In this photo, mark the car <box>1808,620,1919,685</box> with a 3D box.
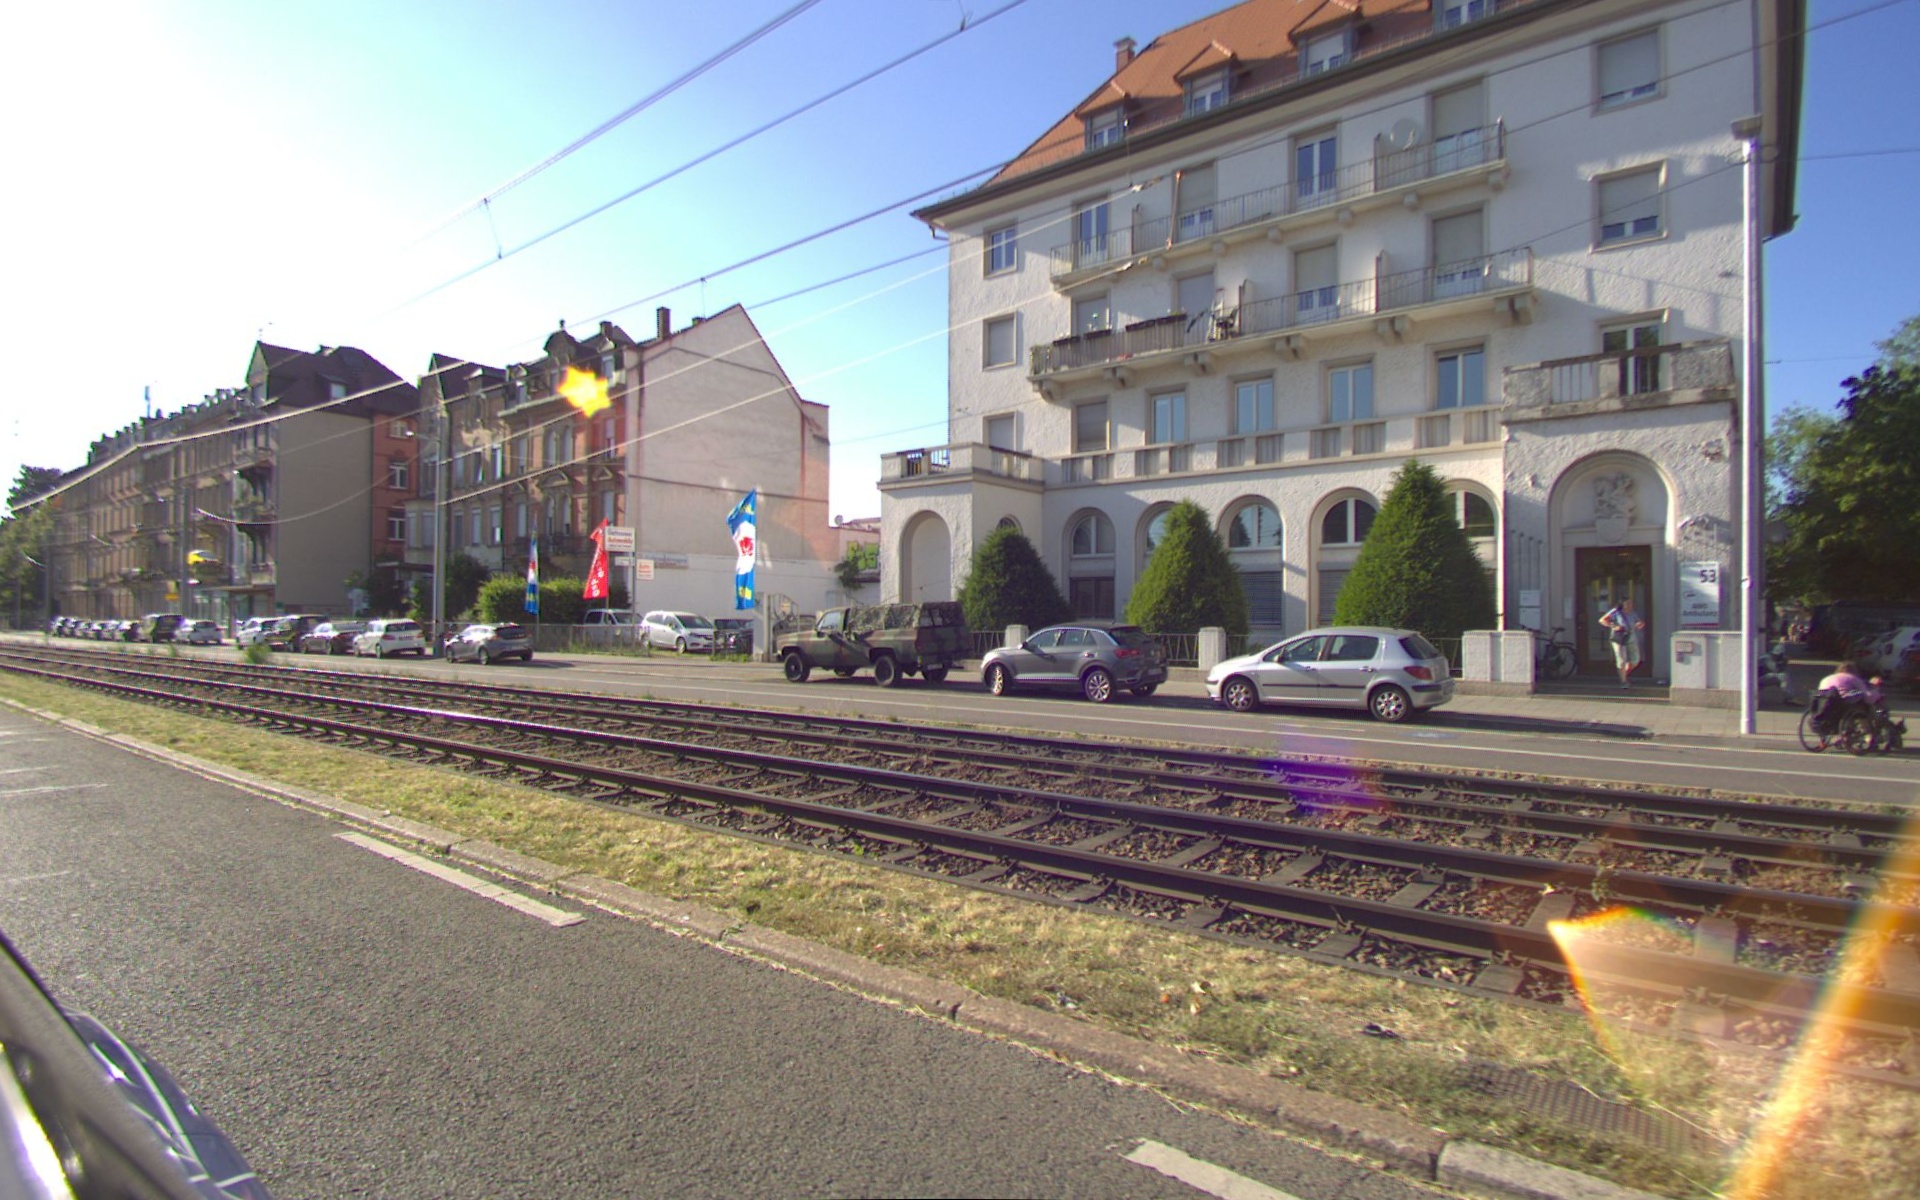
[{"bbox_3d":[25.596,1.434,27.374,3.996,1.671,1.776,1,-1,39],"label":"car"}]

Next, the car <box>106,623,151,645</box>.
[{"bbox_3d":[-57.206,2.309,69.632,3.977,1.457,1.643,-1,0,39],"label":"car"}]

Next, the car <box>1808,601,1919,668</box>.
[{"bbox_3d":[39.228,1.445,42.335,5.588,2.705,2.251,1,-1,36],"label":"car"}]

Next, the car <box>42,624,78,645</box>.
[{"bbox_3d":[-76.554,2.907,86.036,4.629,1.655,1.775,-1,-1,42],"label":"car"}]

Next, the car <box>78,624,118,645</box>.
[{"bbox_3d":[-65.358,2.589,76.696,3.977,1.457,1.643,-1,0,39],"label":"car"}]

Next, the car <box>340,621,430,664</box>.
[{"bbox_3d":[-24.709,1.788,43.383,4.840,1.707,1.900,-1,-1,42],"label":"car"}]

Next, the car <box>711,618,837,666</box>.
[{"bbox_3d":[-6.725,1.534,36.716,4.077,1.646,1.954,2,-4,-41],"label":"car"}]

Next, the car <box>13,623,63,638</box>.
[{"bbox_3d":[-106.058,3.517,116.447,3.931,1.521,1.806,-1,0,-30],"label":"car"}]

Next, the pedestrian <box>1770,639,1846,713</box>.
[{"bbox_3d":[14.823,1.309,17.713,0.892,1.196,0.870,0,0,31],"label":"pedestrian"}]

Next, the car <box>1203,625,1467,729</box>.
[{"bbox_3d":[6.496,1.247,17.757,3.997,1.522,1.776,0,0,41],"label":"car"}]

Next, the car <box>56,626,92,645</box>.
[{"bbox_3d":[-72.765,2.898,83.073,3.761,1.457,1.643,-1,0,39],"label":"car"}]

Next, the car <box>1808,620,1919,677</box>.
[{"bbox_3d":[29.237,1.507,31.748,3.996,1.671,1.776,1,-1,39],"label":"car"}]

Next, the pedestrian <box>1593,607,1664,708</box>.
[{"bbox_3d":[12.297,1.023,18.644,0.930,1.791,0.986,0,0,25],"label":"pedestrian"}]

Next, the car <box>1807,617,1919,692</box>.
[{"bbox_3d":[22.635,1.305,23.870,3.996,1.671,1.776,1,-1,39],"label":"car"}]

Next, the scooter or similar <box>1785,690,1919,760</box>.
[{"bbox_3d":[11.397,1.559,12.791,1.542,0.776,0.810,1,-2,-20],"label":"scooter or similar"}]

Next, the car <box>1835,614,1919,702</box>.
[{"bbox_3d":[19.617,1.150,19.365,4.257,1.653,1.776,1,-1,39],"label":"car"}]

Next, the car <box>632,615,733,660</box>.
[{"bbox_3d":[-11.613,1.528,42.206,4.562,1.668,1.883,1,-1,43],"label":"car"}]

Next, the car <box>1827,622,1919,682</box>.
[{"bbox_3d":[28.015,1.529,29.572,3.996,1.671,1.776,1,-1,39],"label":"car"}]

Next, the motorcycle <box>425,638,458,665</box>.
[{"bbox_3d":[-20.874,2.067,40.737,0.815,0.961,2.156,-1,0,-37],"label":"motorcycle"}]

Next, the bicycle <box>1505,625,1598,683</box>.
[{"bbox_3d":[11.986,1.077,20.546,1.619,1.096,0.460,0,0,32],"label":"bicycle"}]

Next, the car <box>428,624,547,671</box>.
[{"bbox_3d":[-17.527,1.729,37.445,4.835,1.471,1.903,-1,3,38],"label":"car"}]

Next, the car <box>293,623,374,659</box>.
[{"bbox_3d":[-29.116,1.868,46.983,4.840,1.572,1.900,-1,-1,42],"label":"car"}]

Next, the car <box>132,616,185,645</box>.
[{"bbox_3d":[-52.640,1.984,66.414,4.721,1.821,1.644,-1,-1,38],"label":"car"}]

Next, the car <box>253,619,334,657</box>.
[{"bbox_3d":[-33.499,1.903,50.828,4.488,1.794,1.904,-1,-1,35],"label":"car"}]

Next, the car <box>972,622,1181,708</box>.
[{"bbox_3d":[2.344,1.273,21.066,4.157,1.518,1.618,0,0,41],"label":"car"}]

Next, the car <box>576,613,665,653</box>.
[{"bbox_3d":[-15.600,1.482,46.363,4.562,1.668,1.883,1,-1,43],"label":"car"}]

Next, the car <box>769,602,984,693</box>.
[{"bbox_3d":[-2.206,1.110,25.408,5.589,2.025,2.055,-1,0,41],"label":"car"}]

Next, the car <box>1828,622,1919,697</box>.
[{"bbox_3d":[21.050,1.287,21.396,3.996,1.522,1.776,1,-1,39],"label":"car"}]

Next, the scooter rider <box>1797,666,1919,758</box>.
[{"bbox_3d":[11.361,1.389,12.782,0.962,1.097,0.810,1,-3,-20],"label":"scooter rider"}]

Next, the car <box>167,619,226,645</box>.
[{"bbox_3d":[-47.413,1.959,62.827,4.623,1.550,1.901,-1,-1,40],"label":"car"}]

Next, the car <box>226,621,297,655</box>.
[{"bbox_3d":[-37.411,1.993,54.168,4.623,1.696,1.901,0,-1,40],"label":"car"}]
